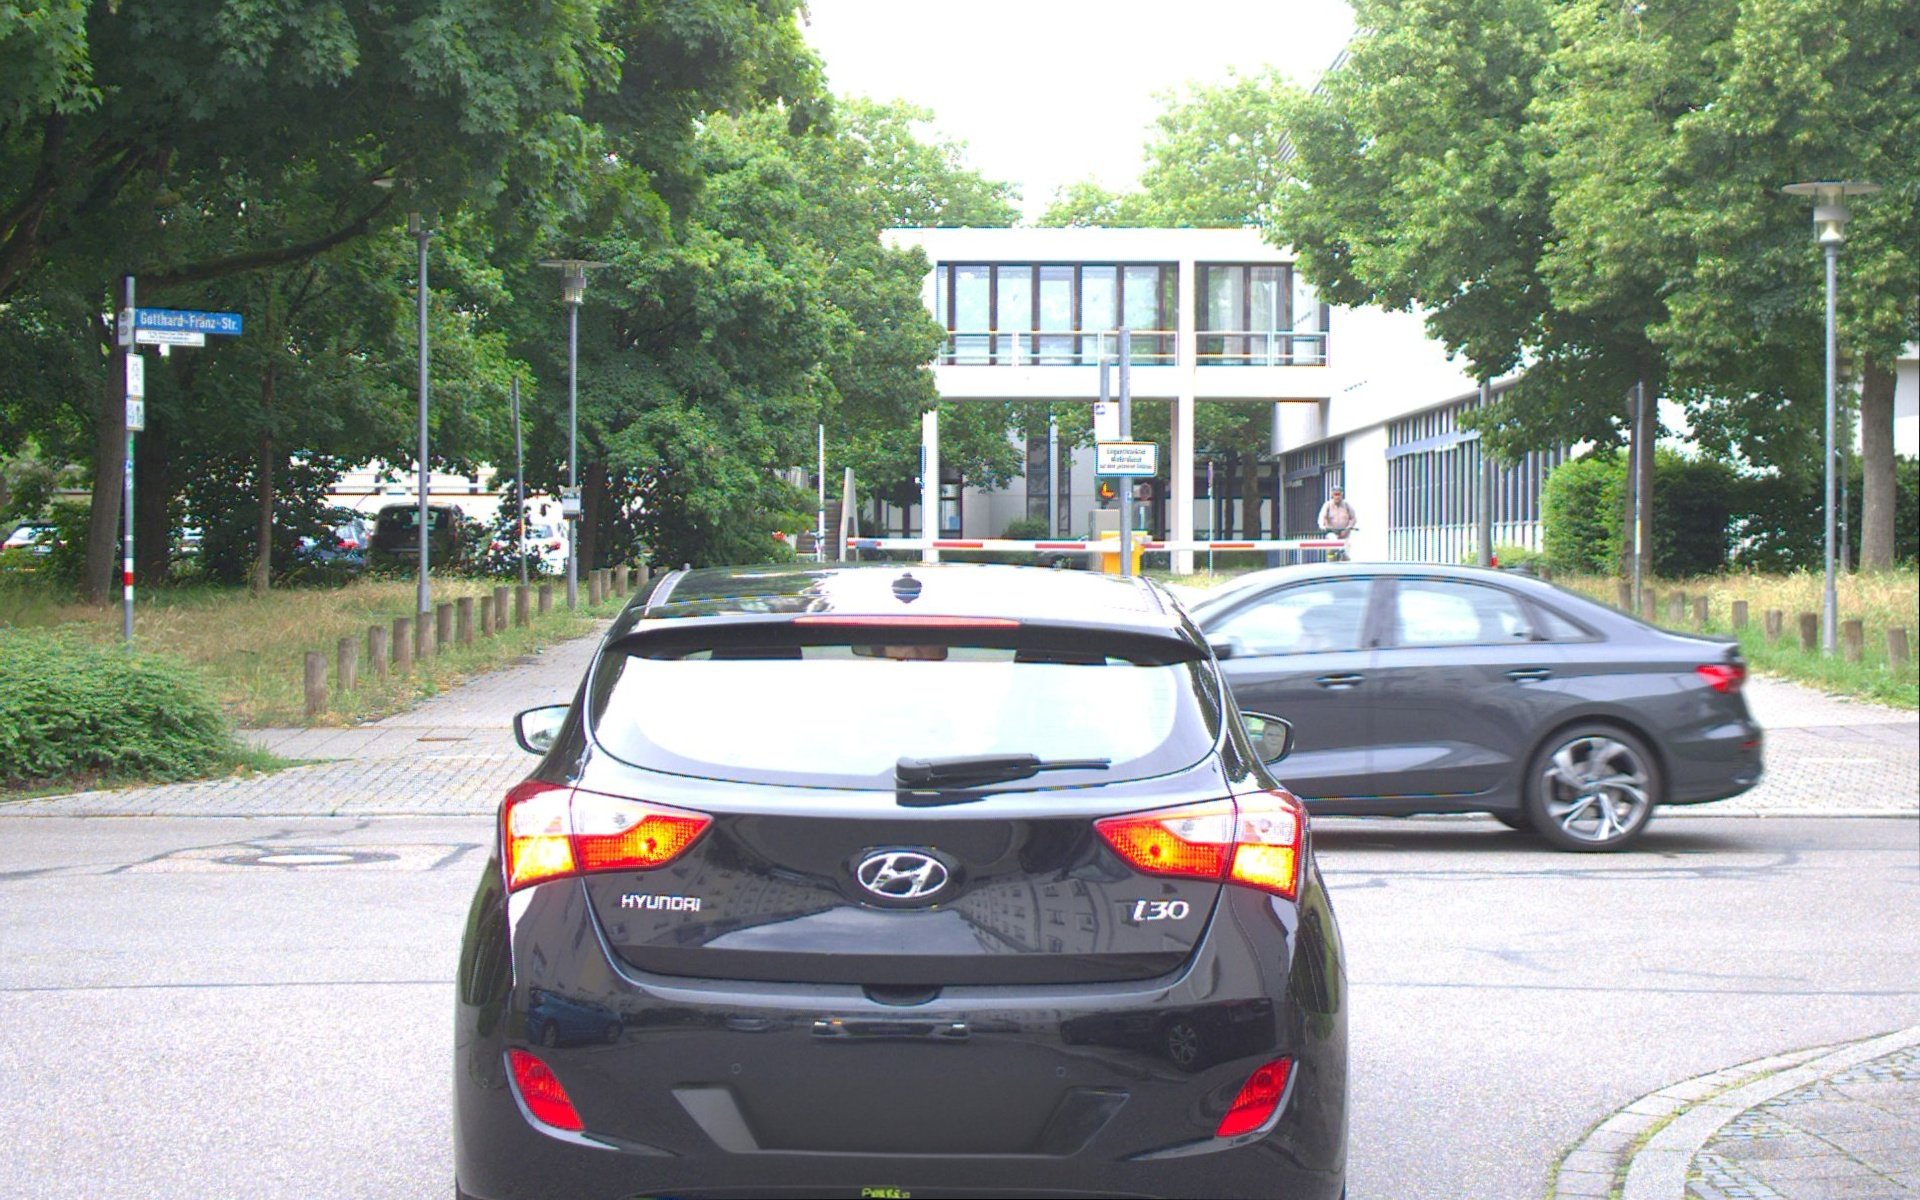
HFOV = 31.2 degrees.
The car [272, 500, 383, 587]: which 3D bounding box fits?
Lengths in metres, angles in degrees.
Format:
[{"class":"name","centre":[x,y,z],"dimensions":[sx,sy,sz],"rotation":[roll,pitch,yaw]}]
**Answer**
[{"class":"car","centre":[-13.740,-1.201,74.863],"dimensions":[1.993,1.788,4.000],"rotation":[0,-1,-5]}]

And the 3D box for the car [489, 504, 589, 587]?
[{"class":"car","centre":[-9.145,-1.162,74.944],"dimensions":[1.993,1.756,4.001],"rotation":[0,0,-5]}]

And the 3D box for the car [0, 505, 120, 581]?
[{"class":"car","centre":[-19.565,-1.246,74.579],"dimensions":[1.993,1.612,4.001],"rotation":[0,1,-5]}]

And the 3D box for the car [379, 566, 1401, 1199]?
[{"class":"car","centre":[-0.223,0.663,8.147],"dimensions":[1.846,1.457,3.828],"rotation":[0,1,-3]}]

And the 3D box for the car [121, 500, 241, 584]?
[{"class":"car","centre":[-16.843,-1.224,74.522],"dimensions":[1.993,1.722,4.000],"rotation":[0,-1,-5]}]

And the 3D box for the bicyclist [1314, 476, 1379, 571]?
[{"class":"bicyclist","centre":[6.750,-1.339,60.103],"dimensions":[1.017,1.639,0.923],"rotation":[0,2,0]}]

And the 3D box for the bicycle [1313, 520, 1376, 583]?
[{"class":"bicycle","centre":[6.728,-0.858,60.232],"dimensions":[0.866,1.071,2.142],"rotation":[0,2,0]}]

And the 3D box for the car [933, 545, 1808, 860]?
[{"class":"car","centre":[1.951,0.469,17.239],"dimensions":[4.103,1.457,1.871],"rotation":[0,2,-2]}]
